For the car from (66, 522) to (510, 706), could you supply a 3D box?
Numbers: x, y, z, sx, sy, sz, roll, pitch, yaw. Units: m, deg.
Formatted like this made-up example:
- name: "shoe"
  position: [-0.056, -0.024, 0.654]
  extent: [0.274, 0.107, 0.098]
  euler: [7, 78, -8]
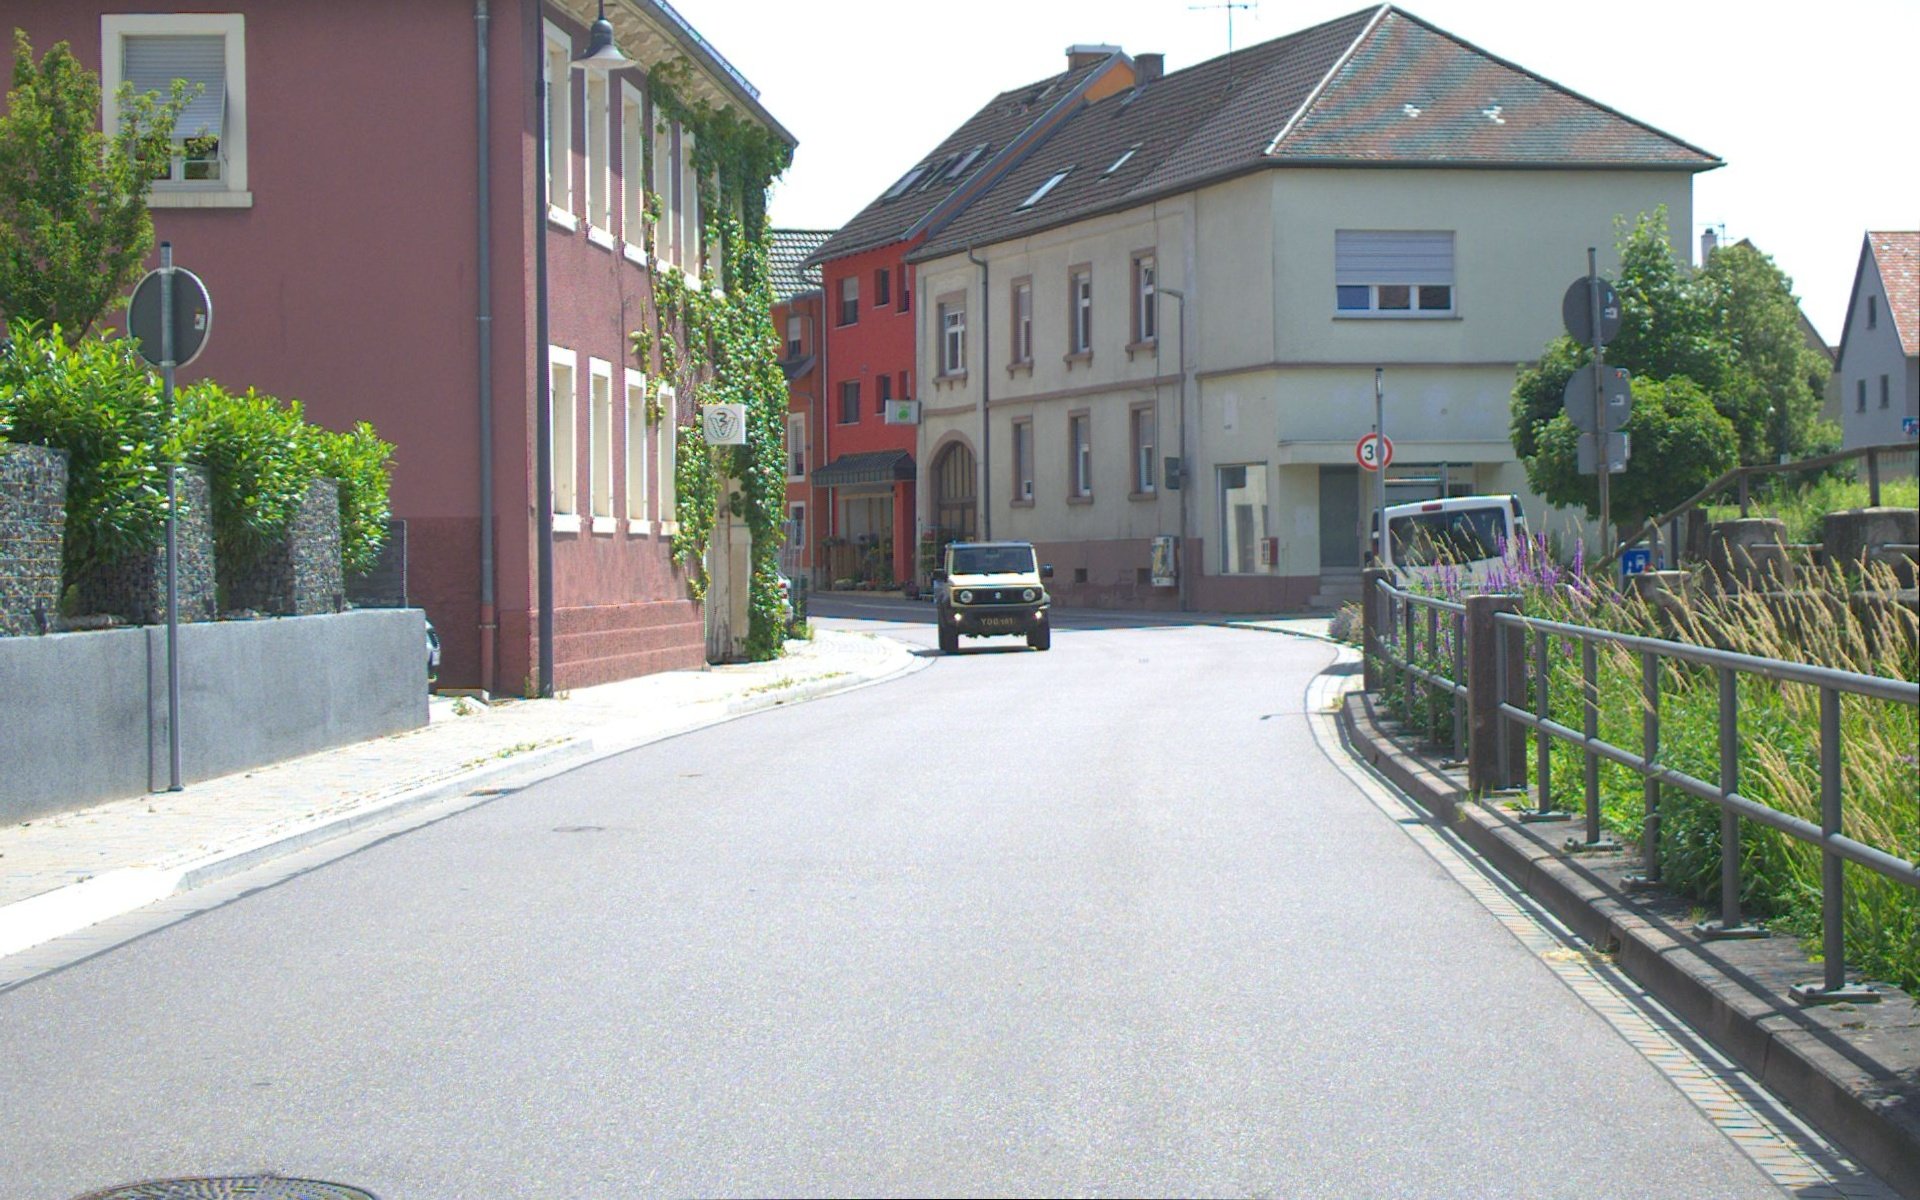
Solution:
- name: "car"
  position: [-6.061, 0.104, 31.217]
  extent: [3.565, 1.401, 1.651]
  euler: [4, 1, 5]

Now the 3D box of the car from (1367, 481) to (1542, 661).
- name: "car"
  position: [5.884, -0.361, 40.965]
  extent: [1.898, 1.974, 3.113]
  euler: [-3, 1, 8]

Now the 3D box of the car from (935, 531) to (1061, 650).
- name: "car"
  position: [0.615, -0.174, 53.364]
  extent: [1.622, 1.713, 3.472]
  euler: [-3, 1, 5]
